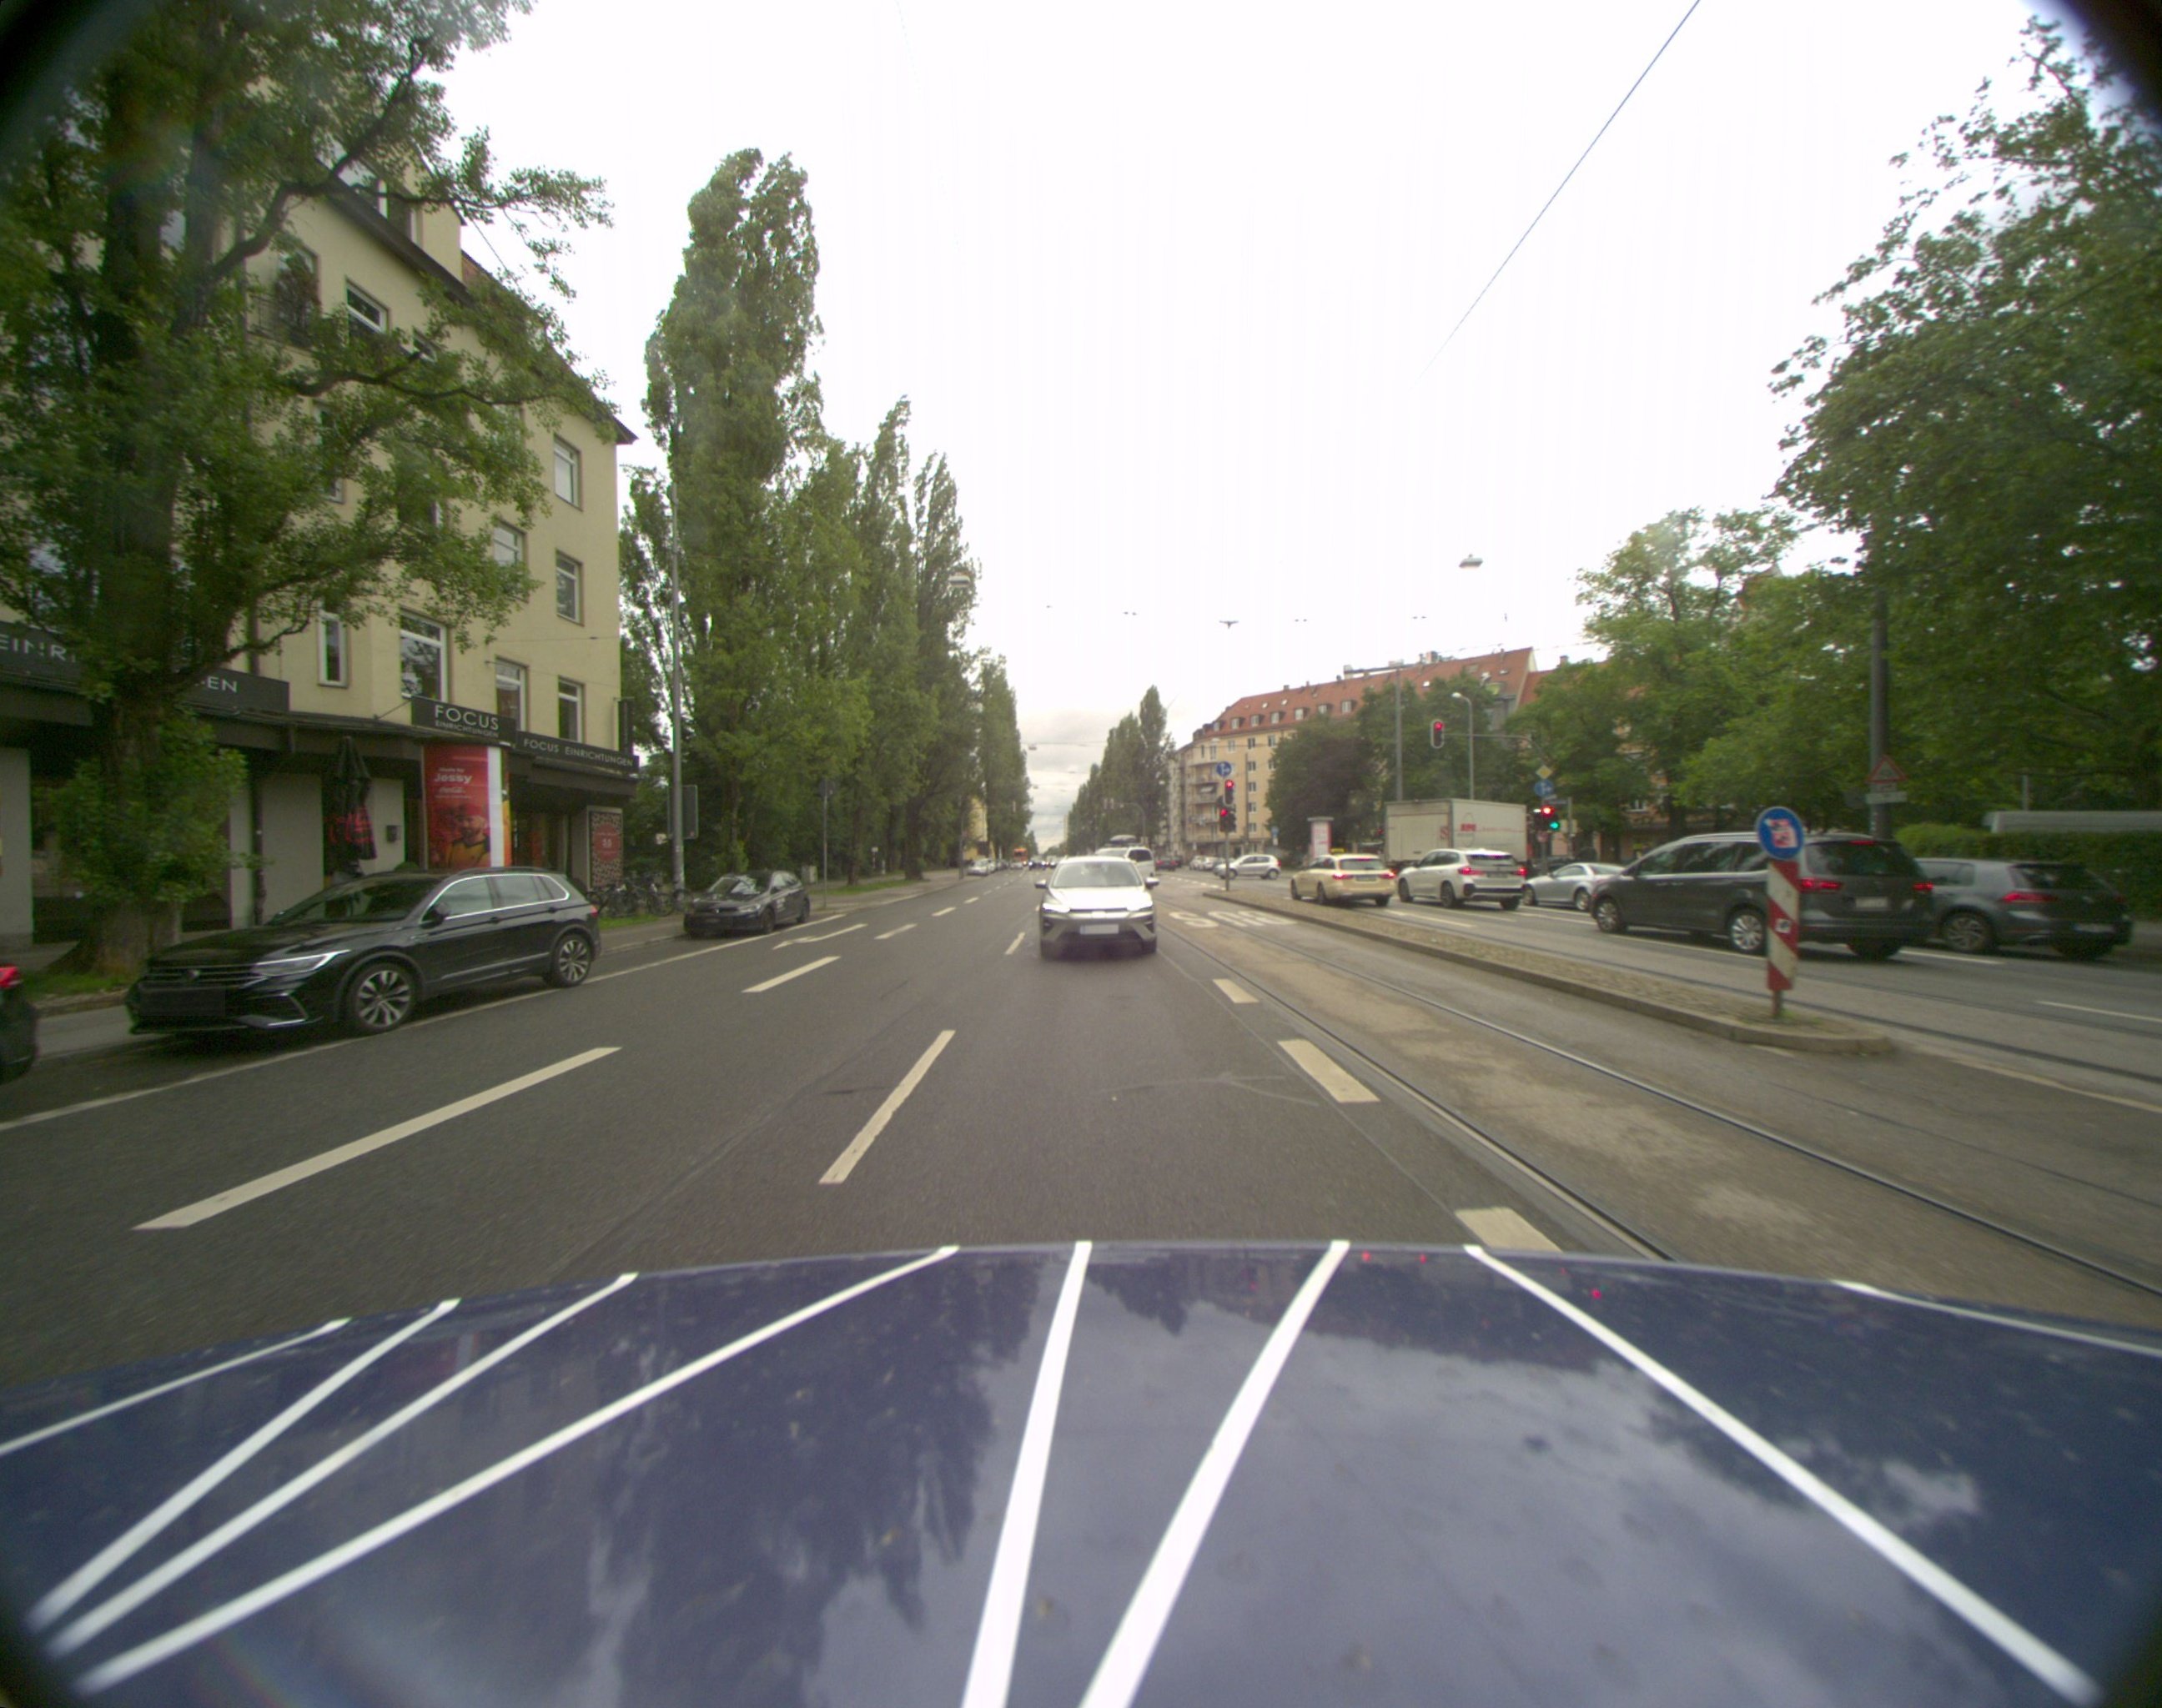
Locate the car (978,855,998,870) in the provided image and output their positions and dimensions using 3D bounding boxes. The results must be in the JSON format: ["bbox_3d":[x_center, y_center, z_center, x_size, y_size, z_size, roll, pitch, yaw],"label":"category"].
[{"bbox_3d":[-9.845,0.899,81.000,1.786,1.477,4.138,-1,0,-3],"label":"car"}]

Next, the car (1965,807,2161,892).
[{"bbox_3d":[27.154,-0.103,20.071,4.612,2.003,2.004,6,4,43],"label":"car"}]

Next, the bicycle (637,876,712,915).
[{"bbox_3d":[-11.912,1.212,22.290,1.888,1.075,0.496,-1,1,-1],"label":"bicycle"}]

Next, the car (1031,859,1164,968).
[{"bbox_3d":[0.104,0.890,12.926,1.776,1.515,4.207,-1,-1,-5],"label":"car"}]

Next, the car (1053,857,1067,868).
[{"bbox_3d":[-2.930,1.164,104.891,1.786,1.477,4.138,-1,0,-3],"label":"car"}]

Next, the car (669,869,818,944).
[{"bbox_3d":[-7.789,1.138,17.989,1.804,1.457,3.999,-1,0,-2],"label":"car"}]

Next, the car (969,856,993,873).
[{"bbox_3d":[-9.180,0.942,69.949,1.786,1.477,4.351,-1,0,-3],"label":"car"}]

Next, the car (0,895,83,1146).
[{"bbox_3d":[-7.922,1.102,3.153,1.804,1.603,4.305,-1,0,1],"label":"car"}]

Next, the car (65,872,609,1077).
[{"bbox_3d":[-7.686,1.081,8.665,1.725,1.603,4.471,-1,0,1],"label":"car"}]

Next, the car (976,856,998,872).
[{"bbox_3d":[-9.386,0.971,76.105,1.786,1.477,4.257,-1,0,-3],"label":"car"}]

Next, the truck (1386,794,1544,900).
[{"bbox_3d":[17.260,-0.246,33.496,2.740,3.957,11.741,1,1,44],"label":"truck"}]

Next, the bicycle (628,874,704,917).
[{"bbox_3d":[-11.876,1.188,21.762,1.888,1.178,0.496,-1,1,-1],"label":"bicycle"}]

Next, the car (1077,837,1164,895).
[{"bbox_3d":[1.813,0.473,32.838,1.909,2.337,4.954,0,0,26],"label":"car"}]

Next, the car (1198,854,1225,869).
[{"bbox_3d":[12.732,0.711,74.432,1.730,1.399,4.373,-1,0,-3],"label":"car"}]

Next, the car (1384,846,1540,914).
[{"bbox_3d":[10.500,0.642,21.409,1.920,1.673,4.890,-1,0,0],"label":"car"}]

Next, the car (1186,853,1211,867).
[{"bbox_3d":[12.288,0.643,79.624,1.730,1.399,4.373,-1,0,-3],"label":"car"}]

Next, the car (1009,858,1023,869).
[{"bbox_3d":[-9.270,1.301,108.388,1.786,1.477,4.138,-1,0,-3],"label":"car"}]

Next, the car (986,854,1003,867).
[{"bbox_3d":[-10.483,0.770,91.997,1.786,1.477,4.138,-1,0,-3],"label":"car"}]

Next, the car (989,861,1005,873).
[{"bbox_3d":[-10.931,1.625,98.781,1.786,1.477,4.138,-1,0,-3],"label":"car"}]

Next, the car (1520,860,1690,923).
[{"bbox_3d":[13.665,0.912,20.153,1.735,1.403,4.103,2,0,2],"label":"car"}]

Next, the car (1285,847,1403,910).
[{"bbox_3d":[7.583,0.635,22.466,1.826,1.629,4.891,-1,0,1],"label":"car"}]

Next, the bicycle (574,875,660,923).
[{"bbox_3d":[-12.026,1.158,19.701,1.888,1.178,0.496,-1,1,-1],"label":"bicycle"}]

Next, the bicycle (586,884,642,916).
[{"bbox_3d":[-13.643,1.334,22.192,1.370,0.878,0.389,-1,1,-1],"label":"bicycle"}]

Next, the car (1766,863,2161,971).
[{"bbox_3d":[13.790,0.880,12.301,1.826,1.373,4.099,-1,0,2],"label":"car"}]

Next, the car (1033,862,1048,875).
[{"bbox_3d":[-4.950,1.776,92.628,1.786,1.477,4.138,-1,0,-3],"label":"car"}]

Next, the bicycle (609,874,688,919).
[{"bbox_3d":[-11.975,1.171,21.061,1.888,1.178,0.496,-1,1,-1],"label":"bicycle"}]

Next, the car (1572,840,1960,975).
[{"bbox_3d":[10.129,0.663,11.934,1.826,1.673,4.891,-1,0,2],"label":"car"}]

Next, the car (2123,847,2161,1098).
[{"bbox_3d":[7.344,0.738,2.543,1.803,1.514,4.355,0,1,2],"label":"car"}]

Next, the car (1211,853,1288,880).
[{"bbox_3d":[10.271,0.764,46.491,4.207,1.515,1.776,-1,-1,-5],"label":"car"}]

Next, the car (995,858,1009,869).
[{"bbox_3d":[-11.971,1.427,115.597,1.786,1.477,4.138,-1,0,-3],"label":"car"}]
